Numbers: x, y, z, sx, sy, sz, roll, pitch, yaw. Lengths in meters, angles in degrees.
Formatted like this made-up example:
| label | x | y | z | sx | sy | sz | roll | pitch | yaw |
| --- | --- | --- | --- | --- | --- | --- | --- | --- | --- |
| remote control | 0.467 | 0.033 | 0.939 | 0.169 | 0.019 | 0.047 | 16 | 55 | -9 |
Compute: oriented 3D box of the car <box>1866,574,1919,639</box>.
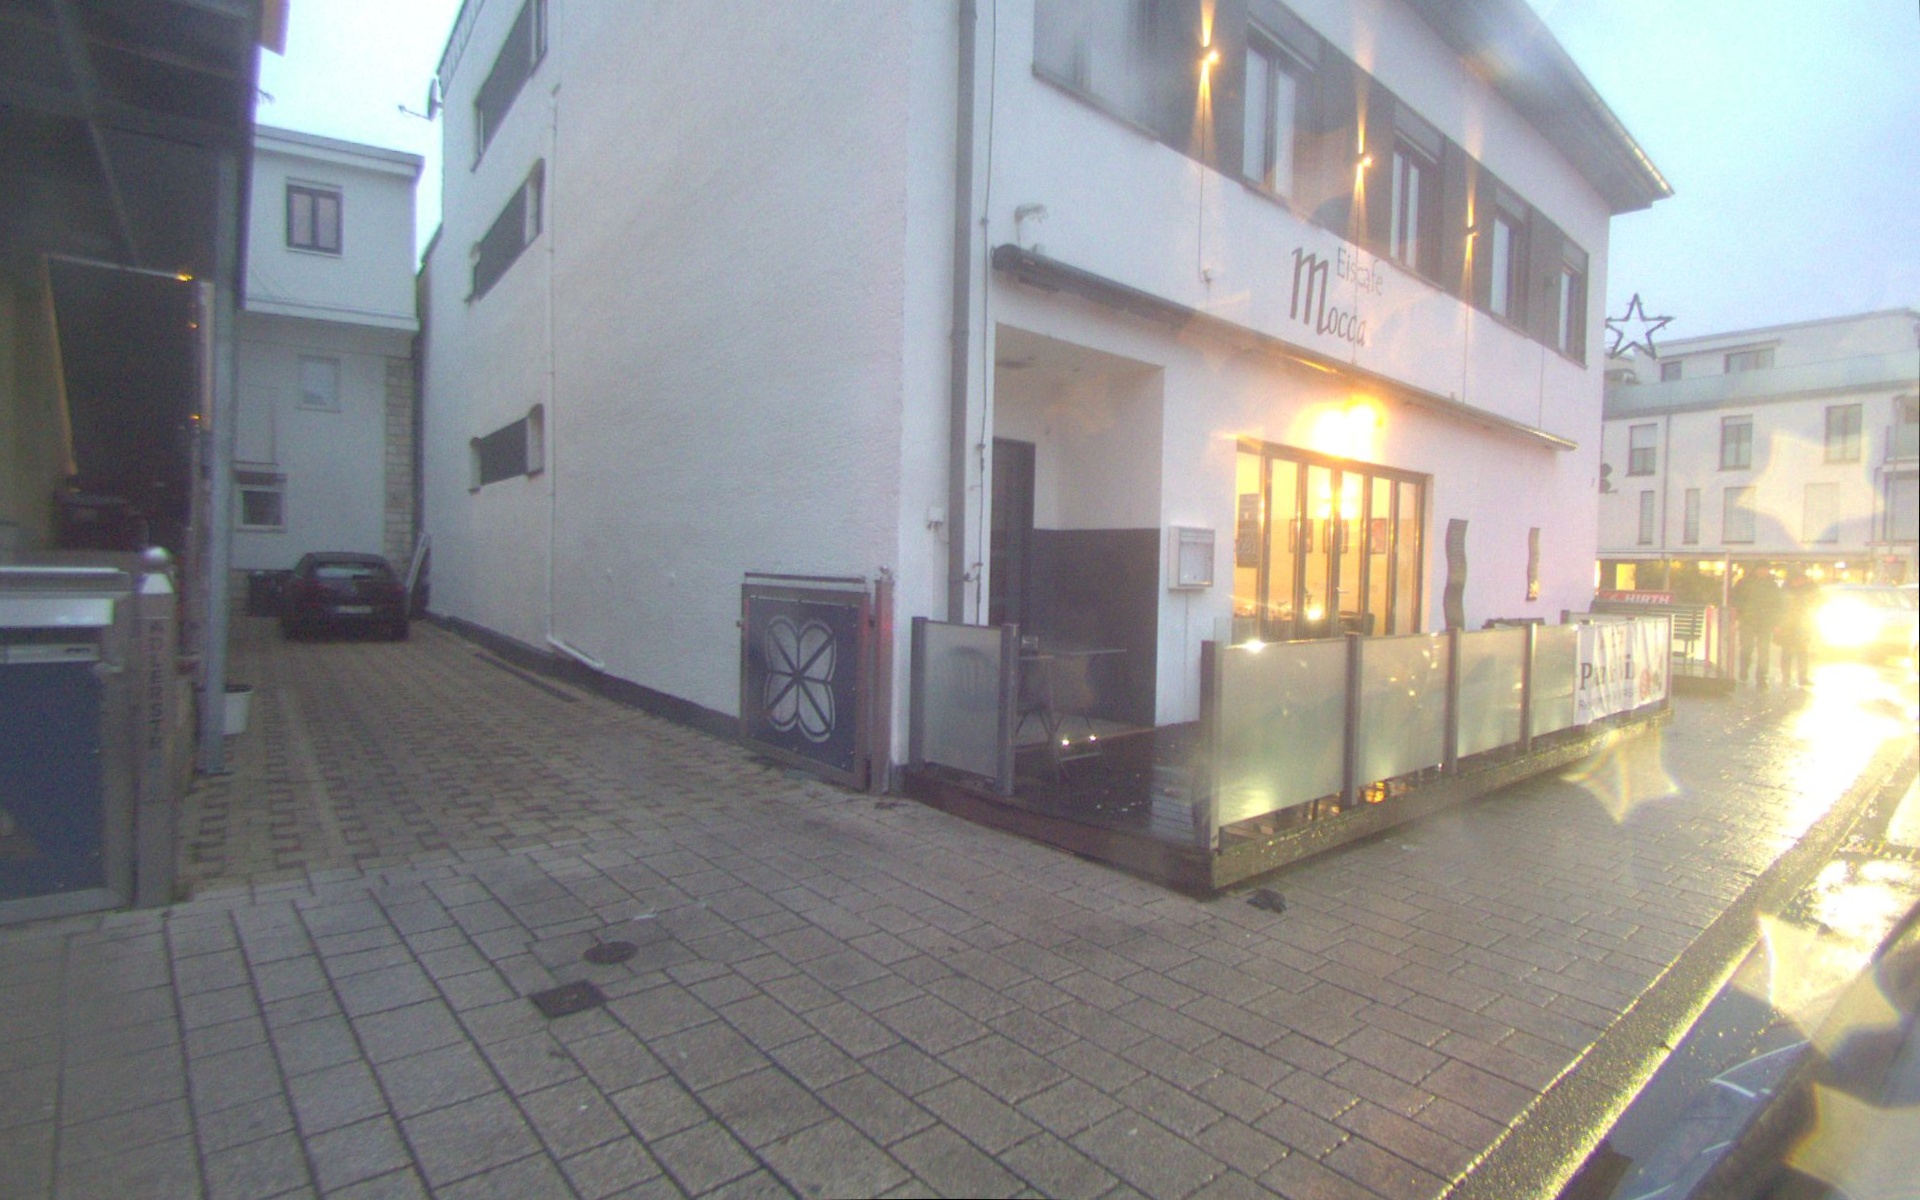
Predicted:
| label | x | y | z | sx | sy | sz | roll | pitch | yaw |
| --- | --- | --- | --- | --- | --- | --- | --- | --- | --- |
| car | 28.552 | 0.132 | 29.224 | 3.916 | 1.767 | 1.830 | -2 | 1 | -18 |

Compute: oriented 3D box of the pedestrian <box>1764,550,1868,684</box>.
| label | x | y | z | sx | sy | sz | roll | pitch | yaw |
| --- | --- | --- | --- | --- | --- | --- | --- | --- | --- |
| pedestrian | 11.811 | 0.218 | 13.985 | 0.754 | 1.783 | 0.791 | -1 | 1 | 3 |

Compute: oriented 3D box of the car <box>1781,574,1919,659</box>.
| label | x | y | z | sx | sy | sz | roll | pitch | yaw |
| --- | --- | --- | --- | --- | --- | --- | --- | --- | --- |
| car | 18.854 | 0.258 | 20.921 | 2.009 | 1.497 | 4.516 | -1 | 2 | 27 |

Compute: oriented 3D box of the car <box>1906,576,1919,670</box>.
| label | x | y | z | sx | sy | sz | roll | pitch | yaw |
| --- | --- | --- | --- | --- | --- | --- | --- | --- | --- |
| car | 15.368 | 0.405 | 14.434 | 1.748 | 1.498 | 3.981 | 0 | 1 | 28 |

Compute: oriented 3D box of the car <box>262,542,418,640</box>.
| label | x | y | z | sx | sy | sz | roll | pitch | yaw |
| --- | --- | --- | --- | --- | --- | --- | --- | --- | --- |
| car | -10.994 | -0.200 | 17.809 | 1.901 | 1.433 | 3.962 | 3 | 2 | -38 |

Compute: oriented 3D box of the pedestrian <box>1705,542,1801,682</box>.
| label | x | y | z | sx | sy | sz | roll | pitch | yaw |
| --- | --- | --- | --- | --- | --- | --- | --- | --- | --- |
| pedestrian | 11.070 | 0.154 | 14.150 | 0.696 | 1.889 | 0.791 | -1 | 1 | 3 |
